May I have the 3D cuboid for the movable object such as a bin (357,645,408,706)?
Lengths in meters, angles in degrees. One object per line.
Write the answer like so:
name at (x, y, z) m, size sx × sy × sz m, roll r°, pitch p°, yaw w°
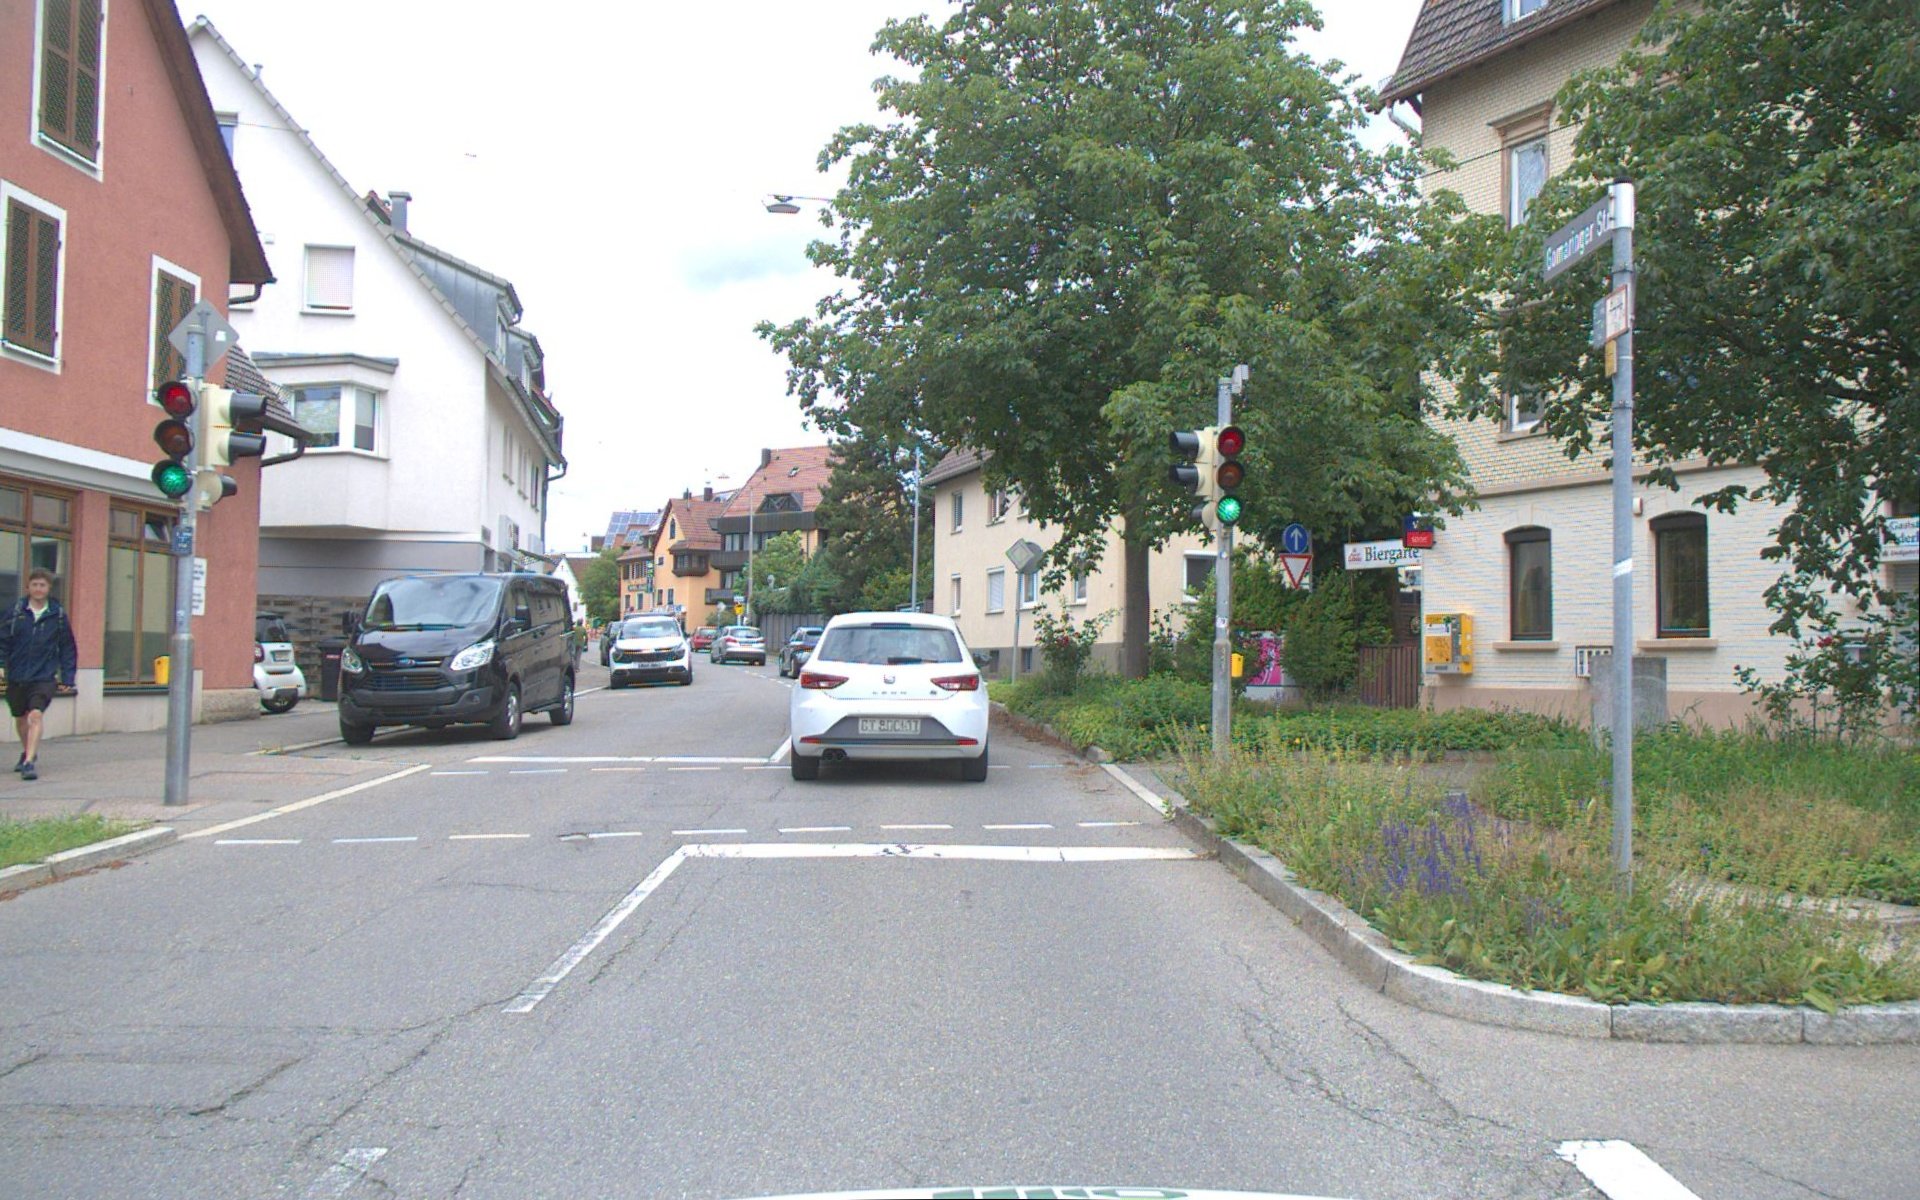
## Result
movable object such as a bin at (-10.110, 1.320, 28.953) m, size 0.652 × 1.036 × 0.794 m, roll 0°, pitch 0°, yaw -5°

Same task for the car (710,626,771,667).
car at (-8.486, 1.781, 63.671) m, size 1.730 × 1.477 × 3.981 m, roll 2°, pitch -2°, yaw -16°

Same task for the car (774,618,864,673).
car at (-4.020, 1.277, 46.629) m, size 1.731 × 1.477 × 3.980 m, roll 2°, pitch -2°, yaw -17°

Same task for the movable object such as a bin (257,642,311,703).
movable object such as a bin at (-11.747, 1.258, 28.771) m, size 0.652 × 1.036 × 0.794 m, roll 0°, pitch 0°, yaw -5°

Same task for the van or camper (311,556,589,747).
van or camper at (-6.121, 0.656, 20.516) m, size 2.032 × 2.041 × 4.855 m, roll -1°, pitch -2°, yaw -1°

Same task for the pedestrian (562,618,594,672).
pedestrian at (-11.140, 1.324, 48.243) m, size 0.792 × 1.526 × 0.973 m, roll 3°, pitch -3°, yaw -11°

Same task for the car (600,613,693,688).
car at (-7.480, 1.192, 39.852) m, size 1.961 × 1.662 × 4.847 m, roll 2°, pitch -1°, yaw -9°

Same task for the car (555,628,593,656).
car at (-22.015, 2.354, 94.255) m, size 1.771 × 1.505 × 4.031 m, roll -1°, pitch -1°, yaw -17°

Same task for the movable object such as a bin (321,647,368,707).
movable object such as a bin at (-10.708, 1.333, 28.784) m, size 0.523 × 0.988 × 0.635 m, roll 3°, pitch -1°, yaw -1°

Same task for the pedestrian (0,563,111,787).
pedestrian at (-7.794, 0.609, 13.938) m, size 0.784 × 1.816 × 0.892 m, roll 1°, pitch -1°, yaw -2°

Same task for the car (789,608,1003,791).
car at (-0.618, 0.859, 15.548) m, size 1.723 × 1.477 × 3.997 m, roll 1°, pitch -1°, yaw -3°

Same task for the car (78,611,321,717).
car at (-11.303, 0.945, 24.718) m, size 2.771 × 1.501 × 1.743 m, roll 1°, pitch -2°, yaw 2°

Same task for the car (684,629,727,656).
car at (-14.718, 2.445, 95.370) m, size 1.732 × 1.477 × 3.977 m, roll 2°, pitch -2°, yaw -20°
